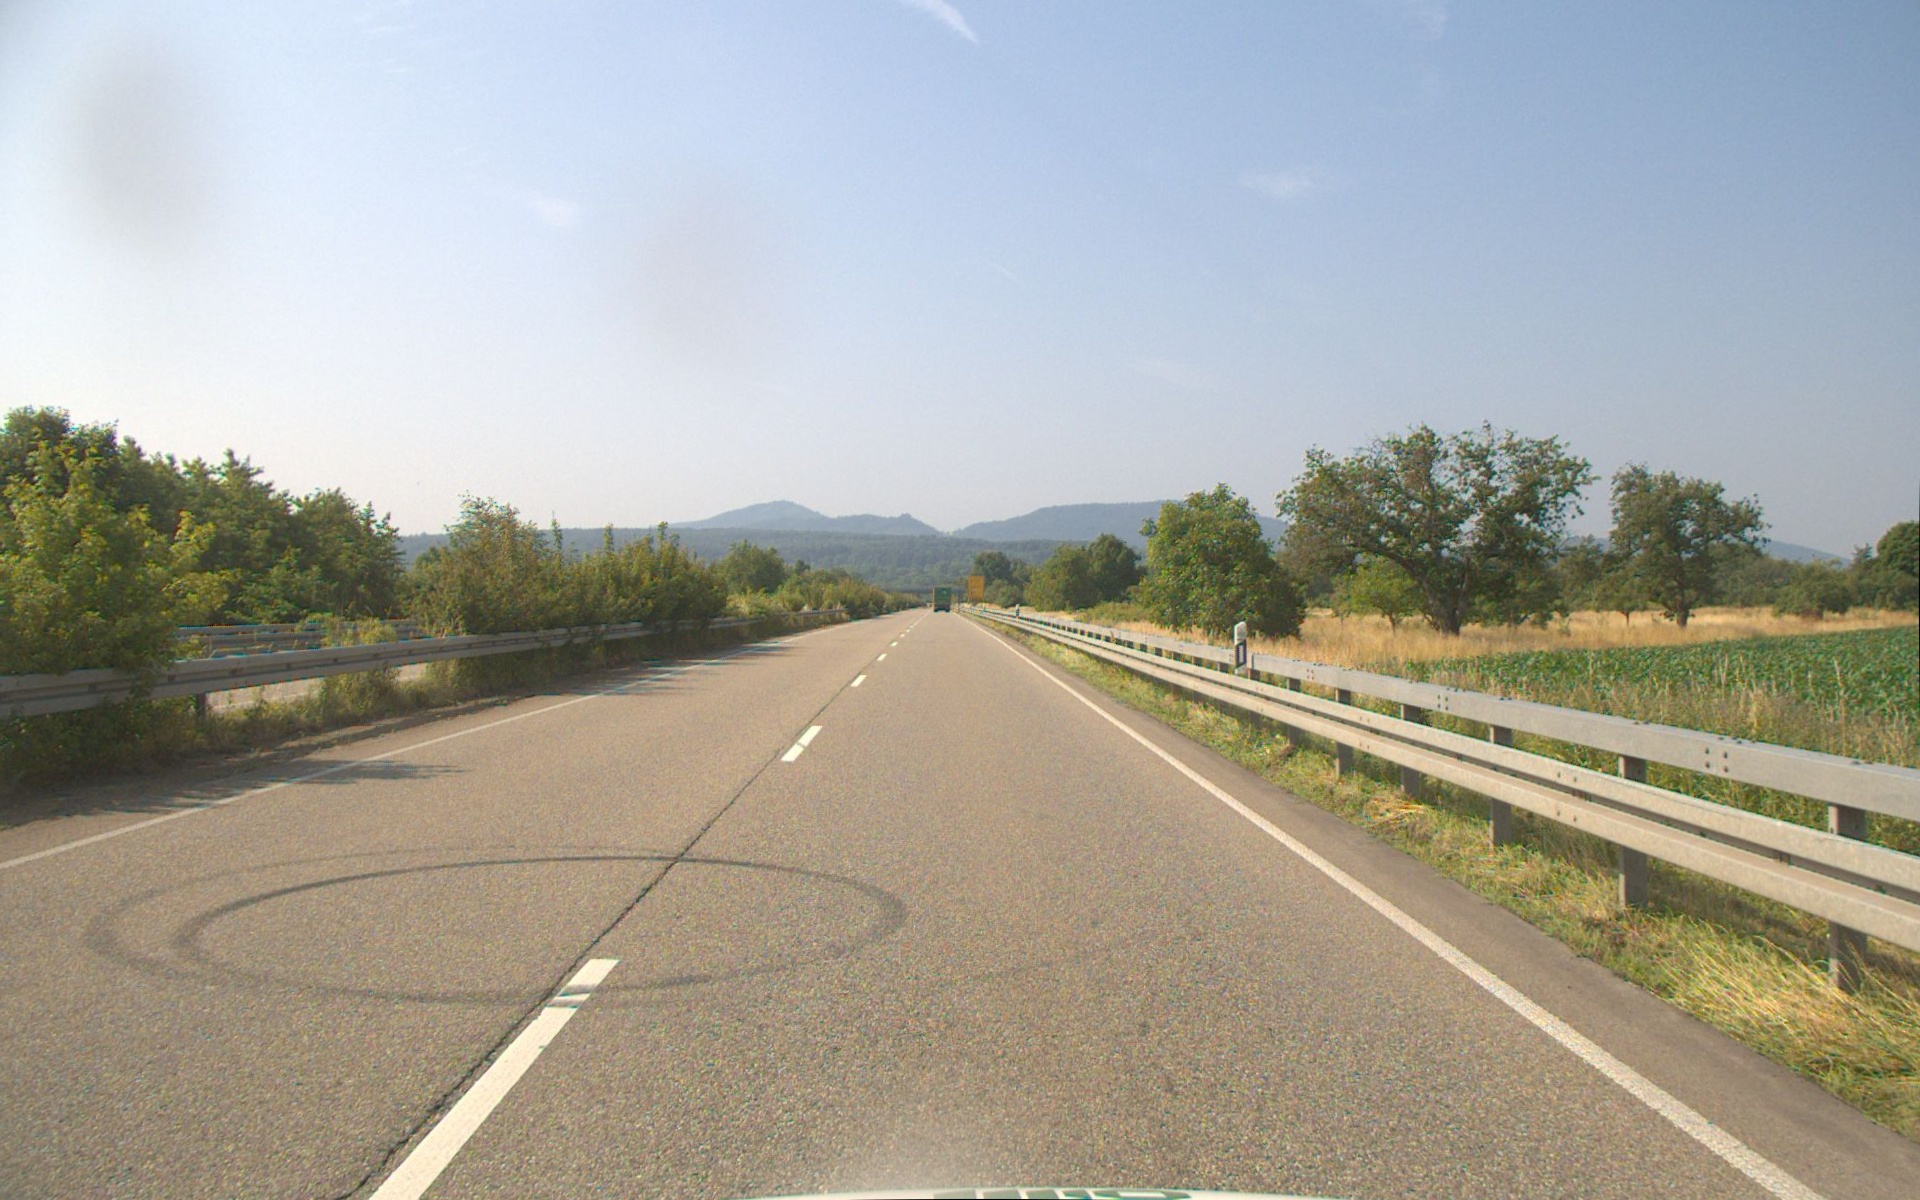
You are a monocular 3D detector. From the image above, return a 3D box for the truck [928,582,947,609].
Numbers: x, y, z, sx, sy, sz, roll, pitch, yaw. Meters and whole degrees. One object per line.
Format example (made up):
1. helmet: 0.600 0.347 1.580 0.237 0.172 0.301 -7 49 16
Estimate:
1. truck: -3.331 -0.731 250.868 2.667 4.034 10.415 2 1 0
